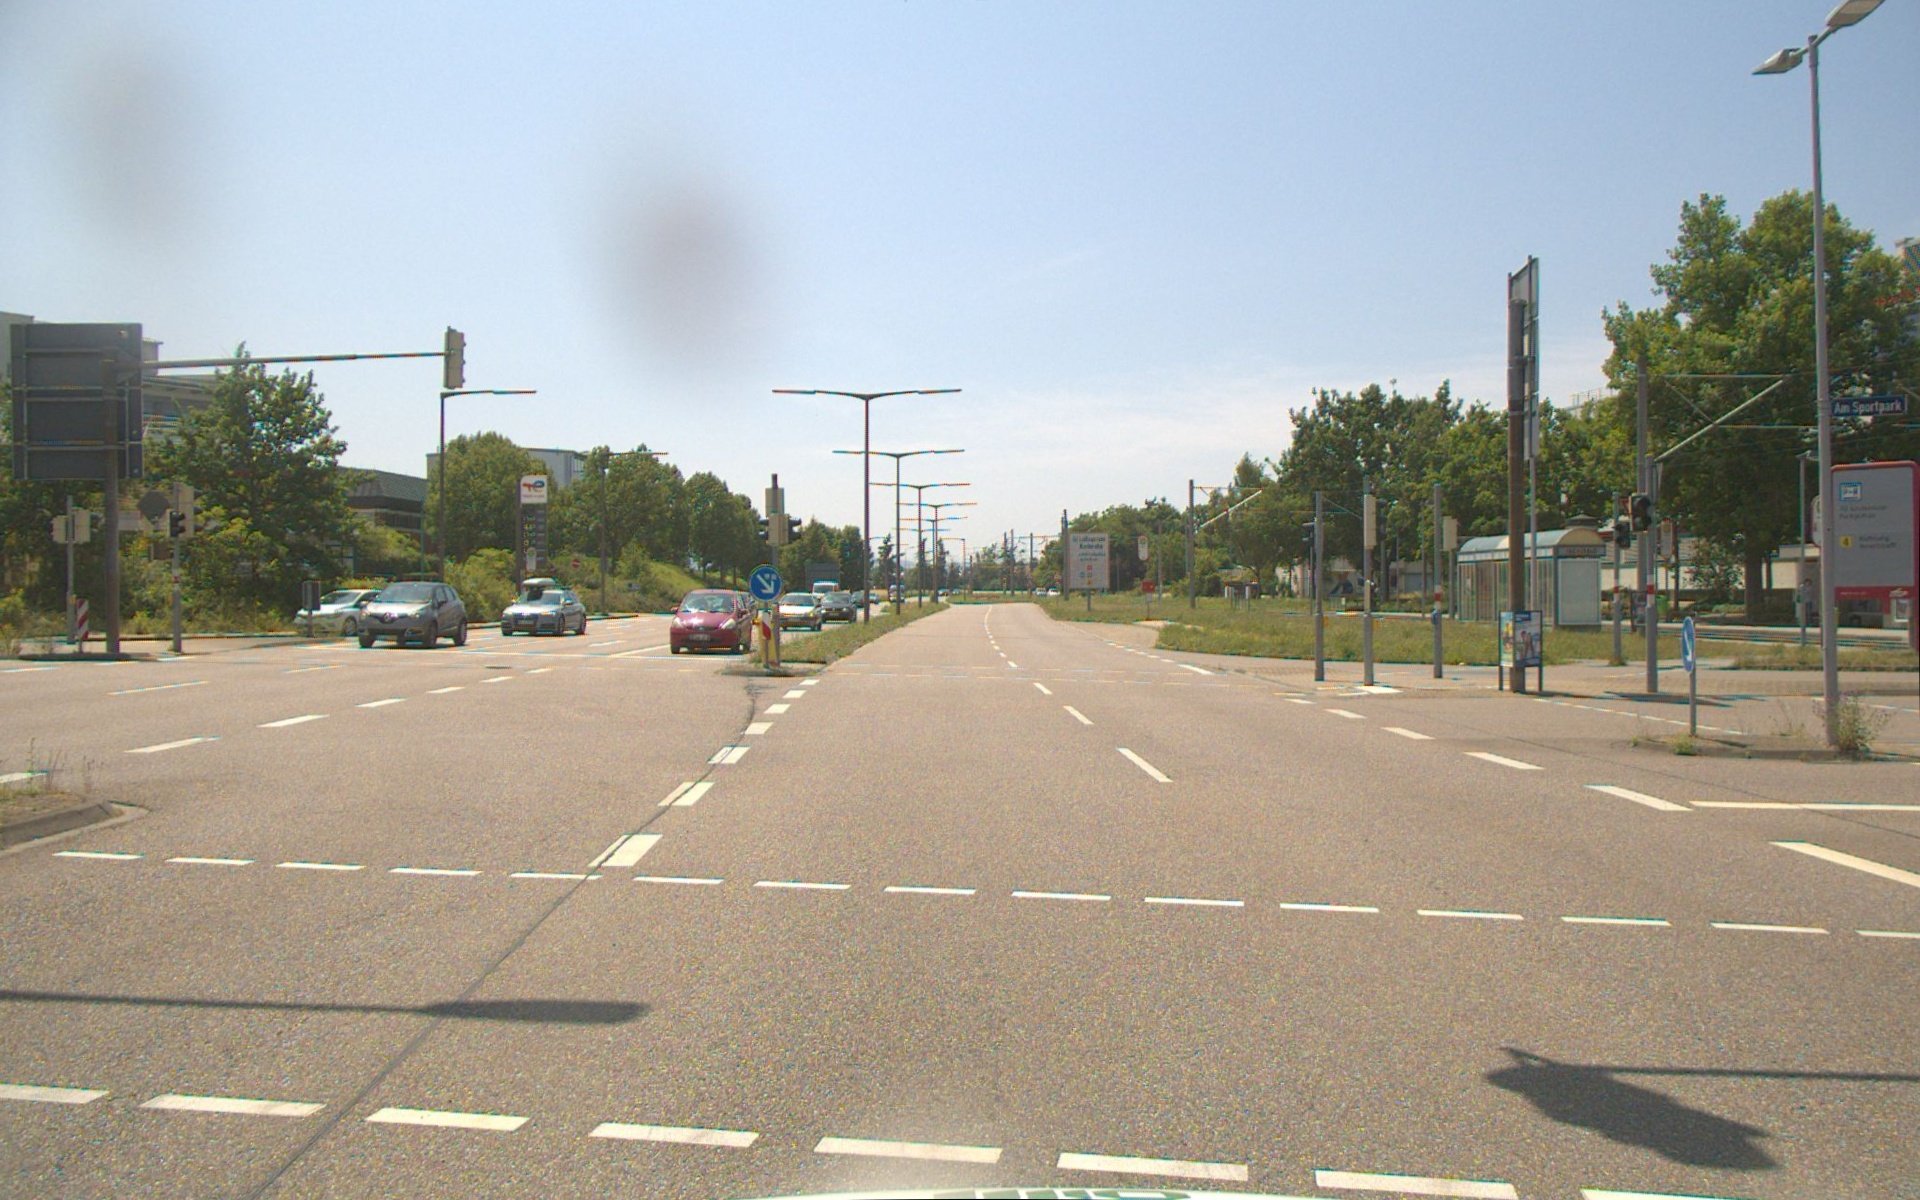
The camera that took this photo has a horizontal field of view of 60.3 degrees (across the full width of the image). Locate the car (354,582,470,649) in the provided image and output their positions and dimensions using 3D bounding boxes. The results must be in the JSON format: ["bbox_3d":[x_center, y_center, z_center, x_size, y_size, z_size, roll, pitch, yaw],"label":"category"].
[{"bbox_3d":[-13.540,0.358,41.069,1.625,1.566,3.999,0,0,-2],"label":"car"}]

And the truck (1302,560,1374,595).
[{"bbox_3d":[33.830,-2.006,148.051,5.730,2.893,2.316,-2,0,-8],"label":"truck"}]

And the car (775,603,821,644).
[{"bbox_3d":[-6.257,0.894,64.128,1.529,1.448,3.853,0,1,-2],"label":"car"}]

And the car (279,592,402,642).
[{"bbox_3d":[-19.162,0.520,51.306,1.784,1.475,3.831,0,0,12],"label":"car"}]

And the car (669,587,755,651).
[{"bbox_3d":[-6.092,0.428,40.955,1.625,1.516,3.999,0,0,-2],"label":"car"}]

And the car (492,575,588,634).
[{"bbox_3d":[-13.418,0.119,53.164,1.925,1.780,5.020,0,0,-2],"label":"car"}]

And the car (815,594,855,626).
[{"bbox_3d":[-5.866,0.436,78.119,1.642,1.459,4.190,0,0,-1],"label":"car"}]

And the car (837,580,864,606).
[{"bbox_3d":[-9.260,-0.581,140.004,1.952,2.049,4.000,1,0,1],"label":"car"}]

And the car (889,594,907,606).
[{"bbox_3d":[-7.816,-0.033,208.877,1.694,1.483,4.567,0,0,4],"label":"car"}]

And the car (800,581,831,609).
[{"bbox_3d":[-12.649,-0.434,144.981,2.203,2.313,5.449,1,0,1],"label":"car"}]
